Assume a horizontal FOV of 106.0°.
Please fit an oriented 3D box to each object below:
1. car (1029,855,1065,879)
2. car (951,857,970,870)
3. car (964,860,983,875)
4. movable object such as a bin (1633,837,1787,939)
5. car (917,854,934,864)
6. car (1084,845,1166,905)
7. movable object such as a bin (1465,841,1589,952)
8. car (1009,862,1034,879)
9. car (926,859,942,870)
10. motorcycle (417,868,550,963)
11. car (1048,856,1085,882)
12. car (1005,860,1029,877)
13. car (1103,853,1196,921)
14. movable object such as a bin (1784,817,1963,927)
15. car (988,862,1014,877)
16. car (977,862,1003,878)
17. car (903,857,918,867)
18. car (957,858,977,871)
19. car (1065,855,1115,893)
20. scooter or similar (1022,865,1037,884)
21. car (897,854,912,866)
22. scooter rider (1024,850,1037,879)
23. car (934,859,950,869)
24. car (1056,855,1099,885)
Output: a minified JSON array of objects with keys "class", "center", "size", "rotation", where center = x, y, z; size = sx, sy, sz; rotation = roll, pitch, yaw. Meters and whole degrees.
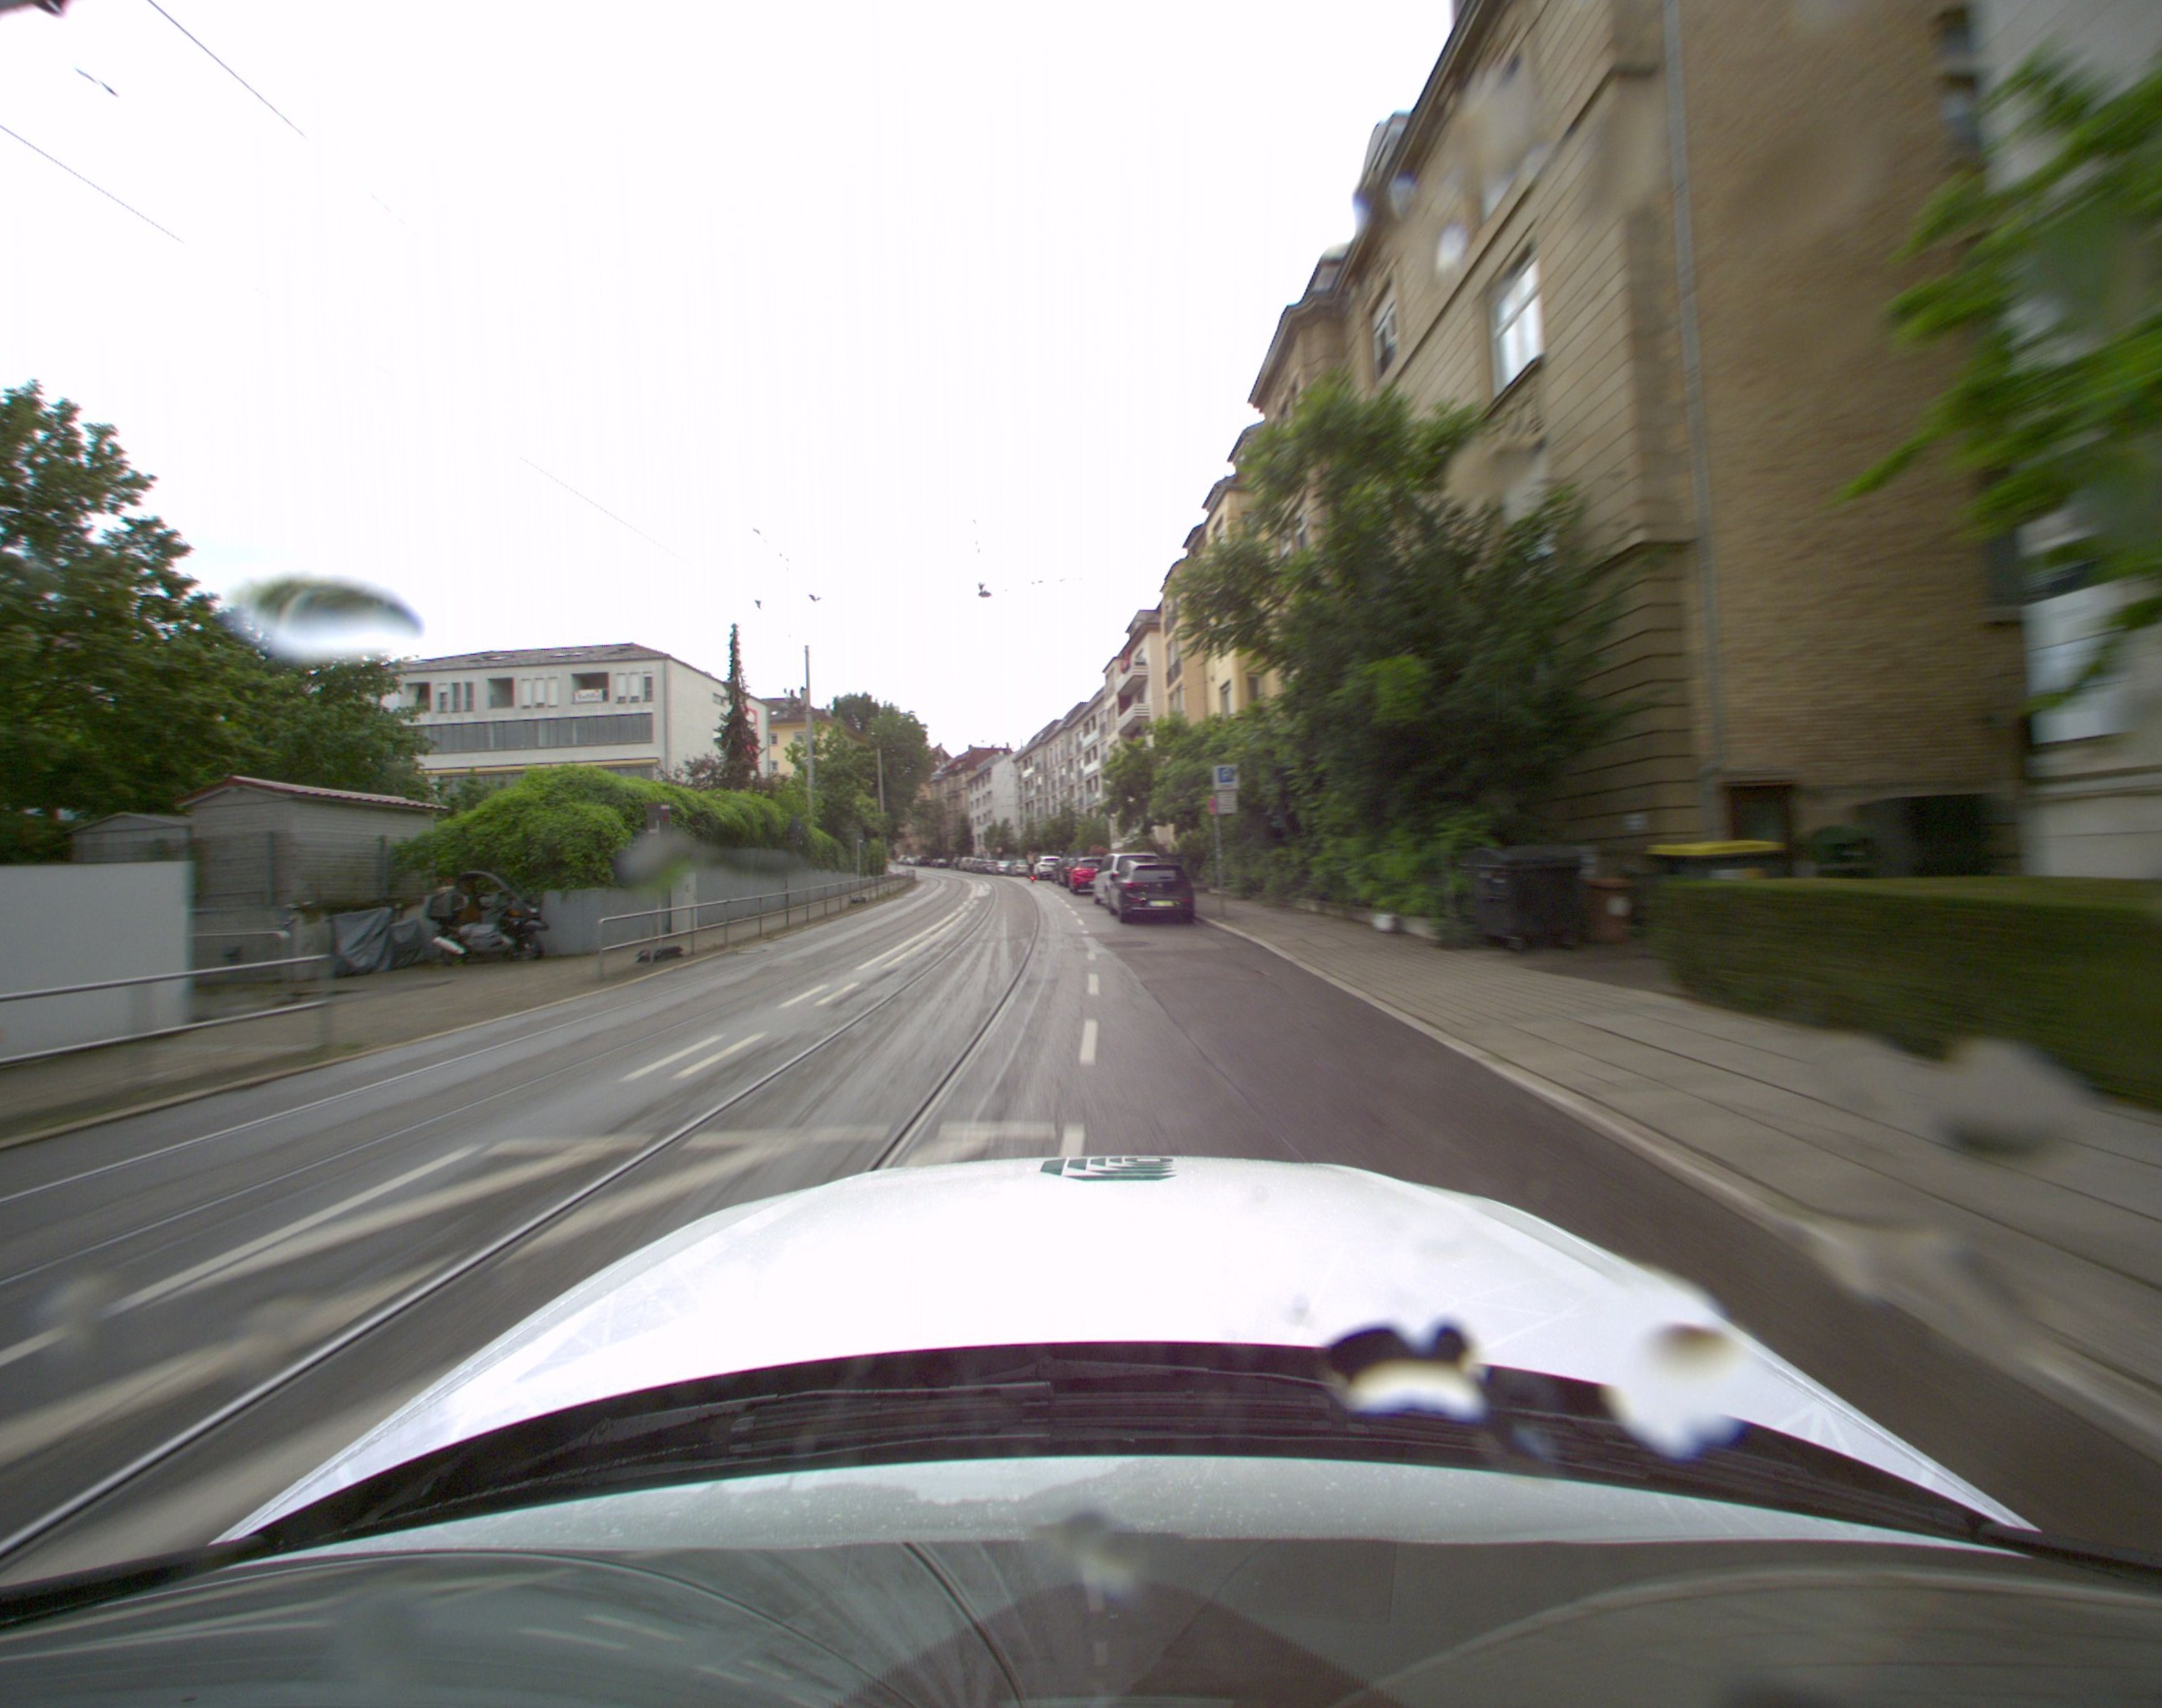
[{"class":"car","center":[-2.364,0.848,55.736],"size":[1.838,1.573,4.232],"rotation":[0,0,-11]},{"class":"car","center":[-16.900,1.309,114.120],"size":[1.772,1.684,4.220],"rotation":[0,0,-19]},{"class":"car","center":[-13.721,1.694,103.889],"size":[1.771,1.787,4.222],"rotation":[0,0,-18]},{"class":"movable object such as a bin","center":[8.973,0.468,11.686],"size":[1.214,1.308,1.167],"rotation":[-4,-1,-2]},{"class":"car","center":[-26.899,0.871,140.476],"size":[2.037,1.824,4.334],"rotation":[0,0,-23]},{"class":"car","center":[1.255,0.620,25.111],"size":[1.764,1.603,4.278],"rotation":[-3,0,-7]},{"class":"movable object such as a bin","center":[6.223,0.558,11.395],"size":[1.225,1.403,0.820],"rotation":[-4,1,-10]},{"class":"car","center":[-5.258,1.446,71.635],"size":[1.662,1.472,4.489],"rotation":[0,-1,-12]},{"class":"car","center":[-23.771,1.648,131.530],"size":[1.656,1.536,3.861],"rotation":[-4,1,-21]},{"class":"motorcycle","center":[-11.220,1.141,15.329],"size":[1.916,1.600,0.596],"rotation":[-4,1,-1]},{"class":"car","center":[-0.887,0.831,47.170],"size":[1.556,1.437,4.289],"rotation":[-1,0,-9]},{"class":"car","center":[-6.028,1.360,76.138],"size":[1.704,1.512,3.696],"rotation":[0,0,-14]},{"class":"car","center":[1.564,0.739,20.032],"size":[1.762,1.390,3.996],"rotation":[-1,1,-3]},{"class":"movable object such as a bin","center":[11.419,0.250,11.806],"size":[1.227,1.425,1.306],"rotation":[-4,-1,-2]},{"class":"car","center":[-8.180,1.559,83.141],"size":[1.766,1.435,4.613],"rotation":[-2,0,-16]},{"class":"car","center":[-10.401,1.820,92.757],"size":[1.774,1.615,4.216],"rotation":[-2,0,-22]},{"class":"car","center":[-31.621,1.449,150.822],"size":[2.035,1.824,4.111],"rotation":[0,0,-21]},{"class":"car","center":[-15.342,1.365,109.465],"size":[1.773,1.684,4.219],"rotation":[0,0,-20]},{"class":"car","center":[0.316,0.768,33.587],"size":[1.719,1.437,3.835],"rotation":[-1,0,-5]},{"class":"scooter or similar","center":[-3.045,1.197,48.257],"size":[0.514,1.049,1.999],"rotation":[1,0,-14]},{"class":"car","center":[-33.654,1.185,155.398],"size":[2.036,2.218,4.108],"rotation":[0,0,-23]},{"class":"scooter rider","center":[-2.987,0.612,48.277],"size":[0.624,1.705,0.840],"rotation":[1,0,-14]},{"class":"car","center":[-21.733,1.553,127.098],"size":[1.772,1.518,4.112],"rotation":[0,0,-19]},{"class":"car","center":[-0.225,0.793,41.645],"size":[1.682,1.437,4.054],"rotation":[-1,0,-7]}]
